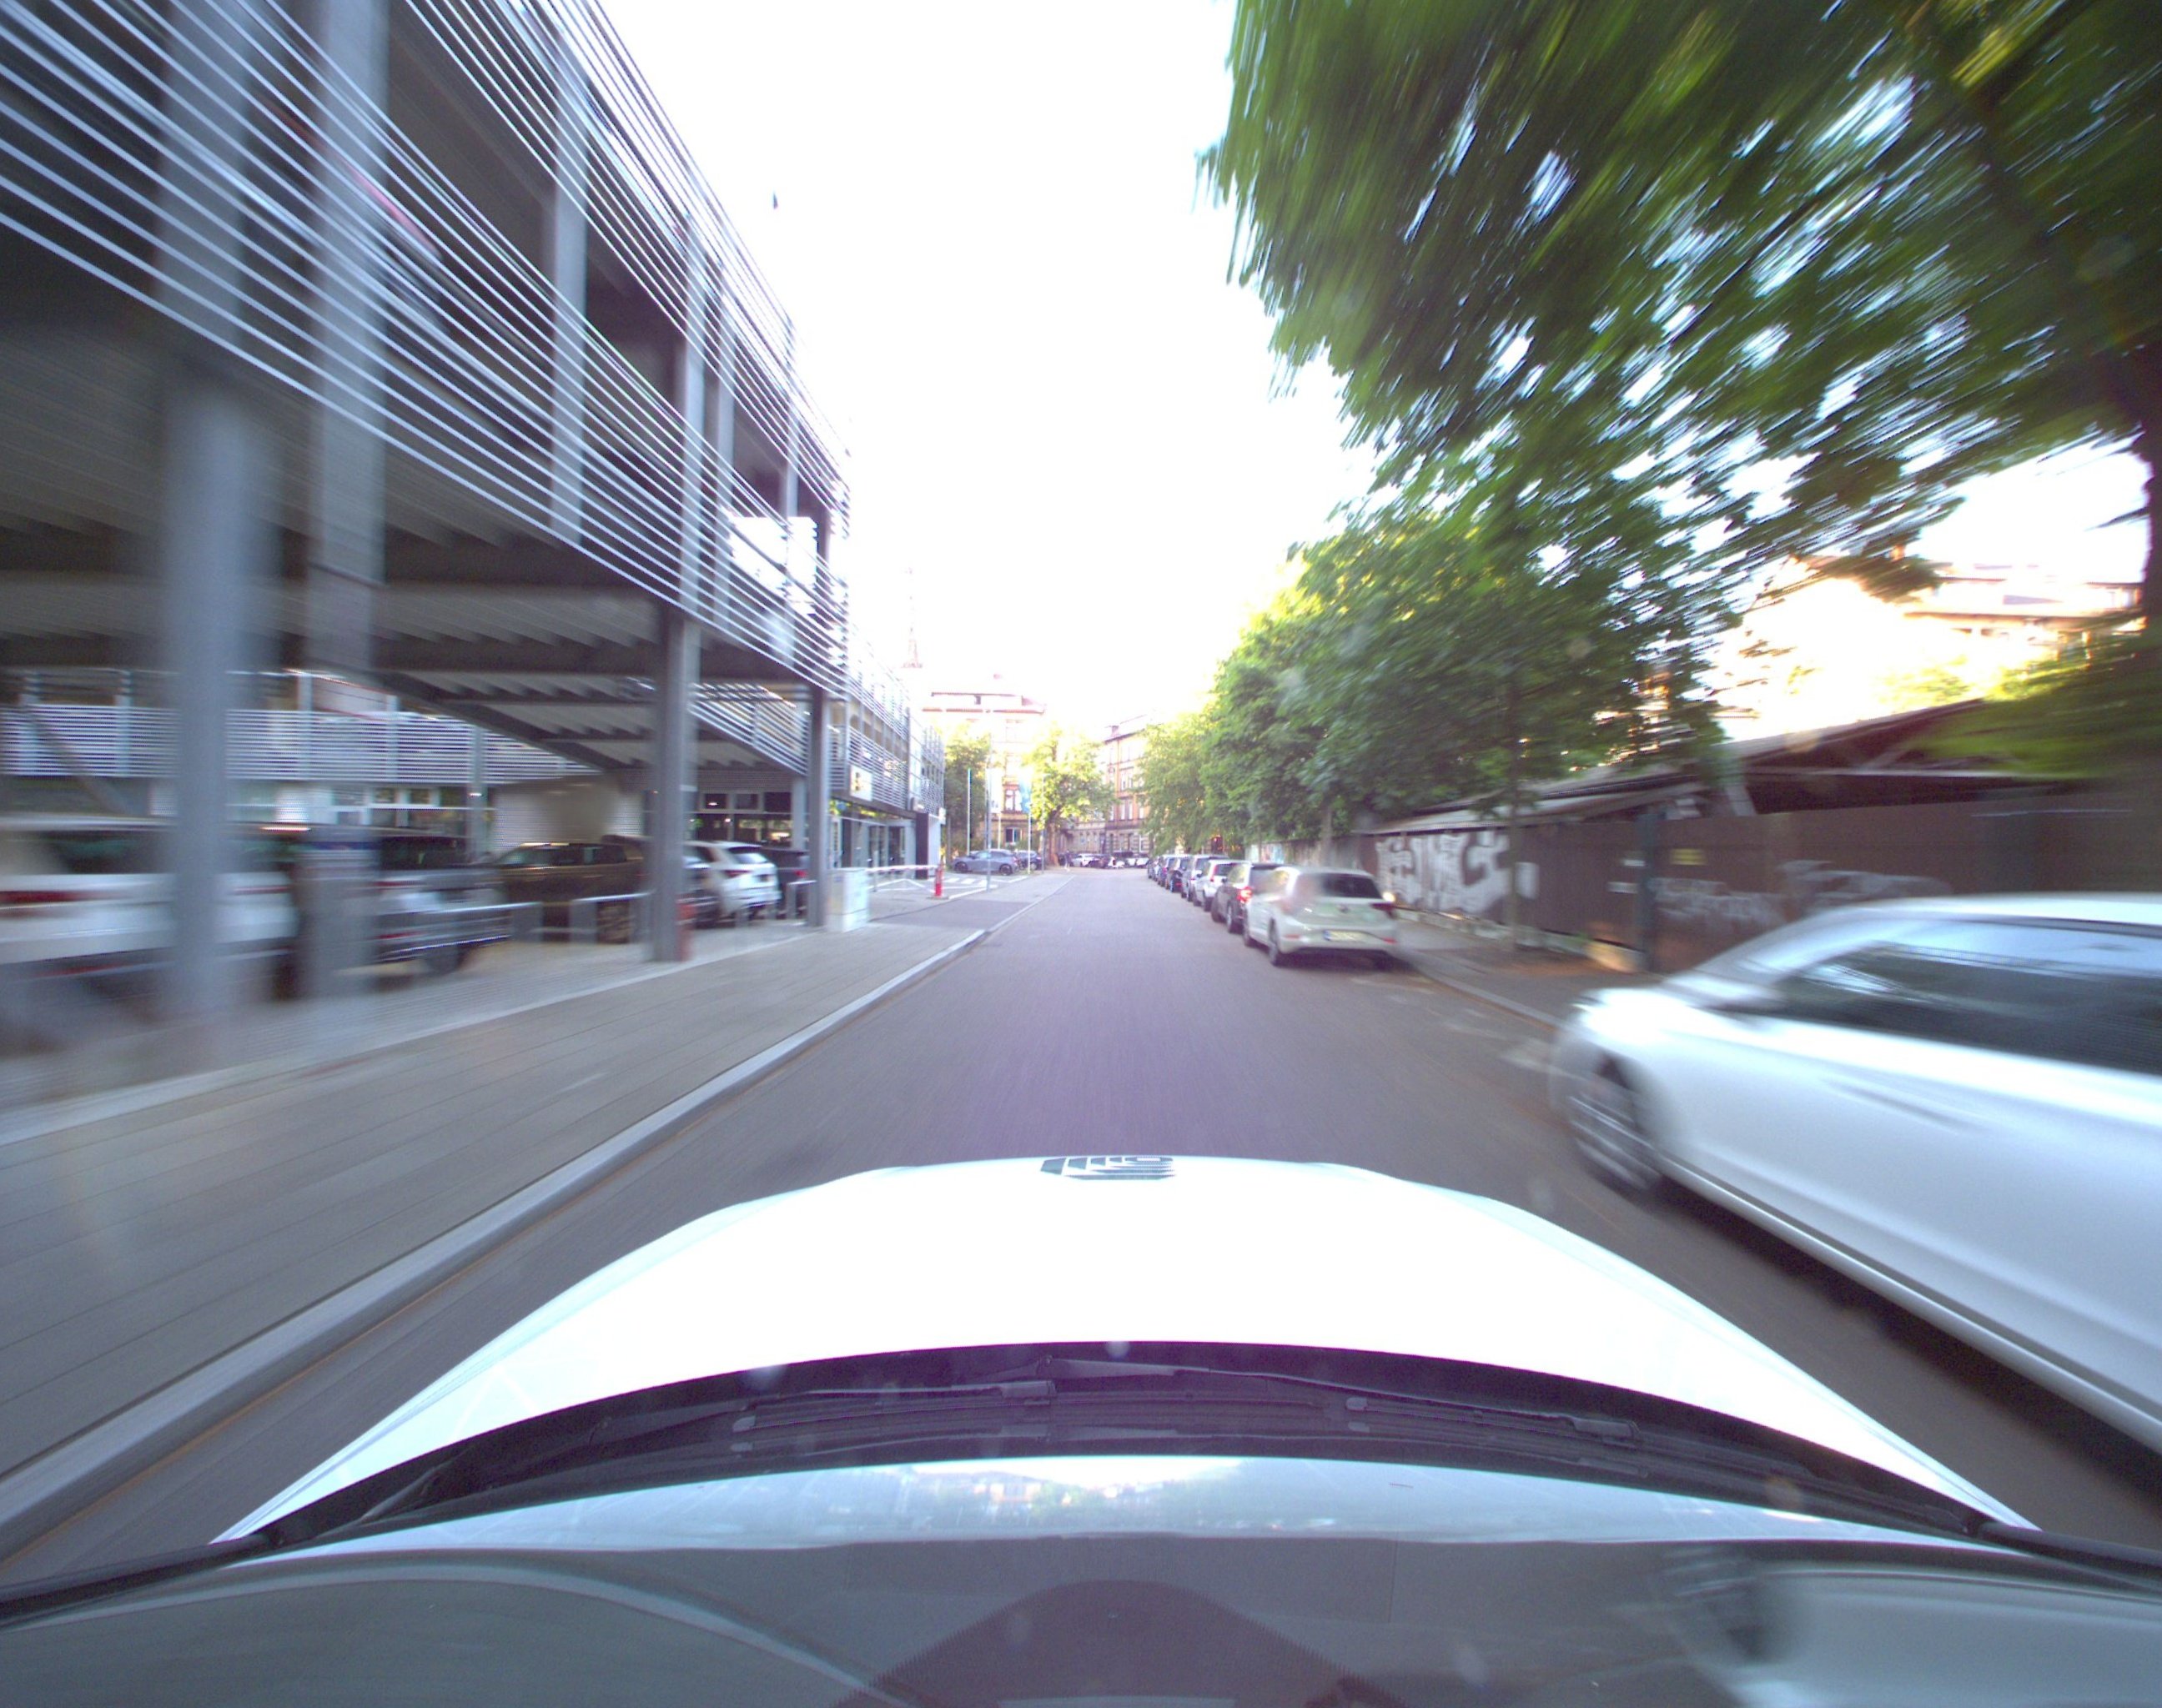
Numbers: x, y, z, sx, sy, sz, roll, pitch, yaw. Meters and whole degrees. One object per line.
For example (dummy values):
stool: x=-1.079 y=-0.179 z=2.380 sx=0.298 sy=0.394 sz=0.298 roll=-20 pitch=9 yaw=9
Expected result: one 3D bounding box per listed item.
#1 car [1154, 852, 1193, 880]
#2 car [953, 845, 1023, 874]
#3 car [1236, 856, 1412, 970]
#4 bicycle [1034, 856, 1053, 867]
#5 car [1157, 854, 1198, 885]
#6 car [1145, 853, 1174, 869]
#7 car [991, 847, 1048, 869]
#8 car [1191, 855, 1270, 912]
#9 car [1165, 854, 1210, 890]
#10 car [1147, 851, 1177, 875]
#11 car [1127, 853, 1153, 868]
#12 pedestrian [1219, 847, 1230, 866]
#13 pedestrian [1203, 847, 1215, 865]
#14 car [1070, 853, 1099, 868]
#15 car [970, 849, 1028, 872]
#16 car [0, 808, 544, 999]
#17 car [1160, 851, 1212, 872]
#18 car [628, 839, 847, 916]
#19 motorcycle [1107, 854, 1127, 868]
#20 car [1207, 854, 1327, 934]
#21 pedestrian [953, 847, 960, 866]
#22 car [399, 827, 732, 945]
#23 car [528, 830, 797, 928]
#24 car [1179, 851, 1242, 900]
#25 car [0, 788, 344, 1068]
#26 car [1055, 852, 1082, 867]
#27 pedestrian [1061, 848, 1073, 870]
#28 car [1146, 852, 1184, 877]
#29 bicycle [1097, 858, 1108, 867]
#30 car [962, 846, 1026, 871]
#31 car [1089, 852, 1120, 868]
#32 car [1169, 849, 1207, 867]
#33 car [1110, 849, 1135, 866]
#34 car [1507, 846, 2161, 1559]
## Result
car: x=5.138 y=0.659 z=45.438 sx=1.690 sy=1.477 sz=3.558 roll=1 pitch=0 yaw=-1
car: x=-5.861 y=0.356 z=51.478 sx=4.116 sy=1.617 sz=1.913 roll=2 pitch=1 yaw=0
car: x=3.660 y=0.804 z=13.020 sx=1.752 sy=1.442 sz=4.008 roll=1 pitch=1 yaw=2
bicycle: x=-3.329 y=0.657 z=72.983 sx=1.678 sy=1.028 sz=0.442 roll=0 pitch=1 yaw=-22
car: x=4.775 y=0.736 z=40.684 sx=1.688 sy=1.477 sz=4.119 roll=1 pitch=0 yaw=2
car: x=7.977 y=0.655 z=82.942 sx=1.681 sy=1.525 sz=3.220 roll=0 pitch=1 yaw=-22
car: x=-5.261 y=0.345 z=70.404 sx=4.820 sy=1.732 sz=1.918 roll=1 pitch=1 yaw=-4
car: x=4.286 y=0.787 z=23.893 sx=1.752 sy=1.441 sz=3.876 roll=1 pitch=1 yaw=2
car: x=4.643 y=0.770 z=35.884 sx=1.590 sy=1.477 sz=3.775 roll=1 pitch=0 yaw=2
car: x=5.435 y=0.569 z=54.880 sx=1.689 sy=1.571 sz=3.973 roll=1 pitch=0 yaw=1
car: x=6.206 y=0.709 z=86.439 sx=1.681 sy=1.525 sz=2.747 roll=1 pitch=1 yaw=-22
pedestrian: x=13.884 y=0.263 z=78.741 sx=0.774 sy=1.804 sz=0.839 roll=0 pitch=1 yaw=-13
pedestrian: x=12.731 y=0.212 z=80.909 sx=0.843 sy=1.804 sz=0.771 roll=0 pitch=1 yaw=-18
car: x=0.337 y=0.629 z=85.945 sx=1.660 sy=1.431 sz=4.140 roll=1 pitch=1 yaw=-20
car: x=-5.898 y=0.449 z=58.949 sx=4.035 sy=1.475 sz=1.919 roll=2 pitch=1 yaw=-2
car: x=-8.094 y=0.421 z=8.280 sx=4.047 sy=1.683 sz=1.862 roll=1 pitch=1 yaw=3
car: x=7.966 y=0.535 z=61.623 sx=3.994 sy=1.466 sz=1.859 roll=0 pitch=1 yaw=-45
car: x=-7.424 y=0.512 z=17.932 sx=3.974 sy=1.586 sz=1.860 roll=0 pitch=-2 yaw=0
motorcycle: x=3.456 y=0.675 z=78.187 sx=1.930 sy=1.340 sz=0.576 roll=0 pitch=1 yaw=-9
car: x=3.894 y=0.761 z=17.772 sx=1.752 sy=1.454 sz=4.395 roll=1 pitch=1 yaw=2
pedestrian: x=-11.192 y=0.228 z=73.109 sx=0.541 sy=1.634 sz=0.448 roll=0 pitch=1 yaw=-3
car: x=-7.947 y=0.448 z=12.826 sx=4.070 sy=1.683 sz=1.862 roll=1 pitch=1 yaw=3
car: x=-7.731 y=0.418 z=15.310 sx=4.063 sy=1.683 sz=1.862 roll=1 pitch=1 yaw=3
car: x=4.536 y=0.715 z=28.899 sx=1.752 sy=1.604 sz=3.876 roll=1 pitch=0 yaw=2
car: x=-8.205 y=0.412 z=5.908 sx=4.086 sy=1.683 sz=1.862 roll=1 pitch=1 yaw=3
car: x=-1.406 y=0.606 z=90.554 sx=1.661 sy=1.431 sz=3.868 roll=1 pitch=1 yaw=-22
pedestrian: x=-1.156 y=0.417 z=67.524 sx=0.737 sy=1.804 sz=1.115 roll=0 pitch=1 yaw=-18
car: x=5.107 y=0.624 z=49.850 sx=1.691 sy=1.477 sz=4.209 roll=1 pitch=0 yaw=-2
bicycle: x=2.017 y=0.803 z=76.153 sx=0.421 sy=0.822 sz=1.470 roll=1 pitch=1 yaw=24
car: x=-5.745 y=0.300 z=54.348 sx=4.054 sy=1.618 sz=1.765 roll=1 pitch=1 yaw=0
car: x=2.290 y=0.604 z=81.342 sx=1.661 sy=1.431 sz=3.962 roll=1 pitch=1 yaw=-22
car: x=10.197 y=0.409 z=77.672 sx=1.922 sy=1.525 sz=3.868 roll=1 pitch=2 yaw=-22
car: x=4.565 y=0.427 z=90.037 sx=1.681 sy=1.782 sz=2.993 roll=1 pitch=1 yaw=-22
car: x=3.233 y=0.759 z=2.619 sx=1.715 sy=1.519 sz=4.028 roll=1 pitch=1 yaw=2
